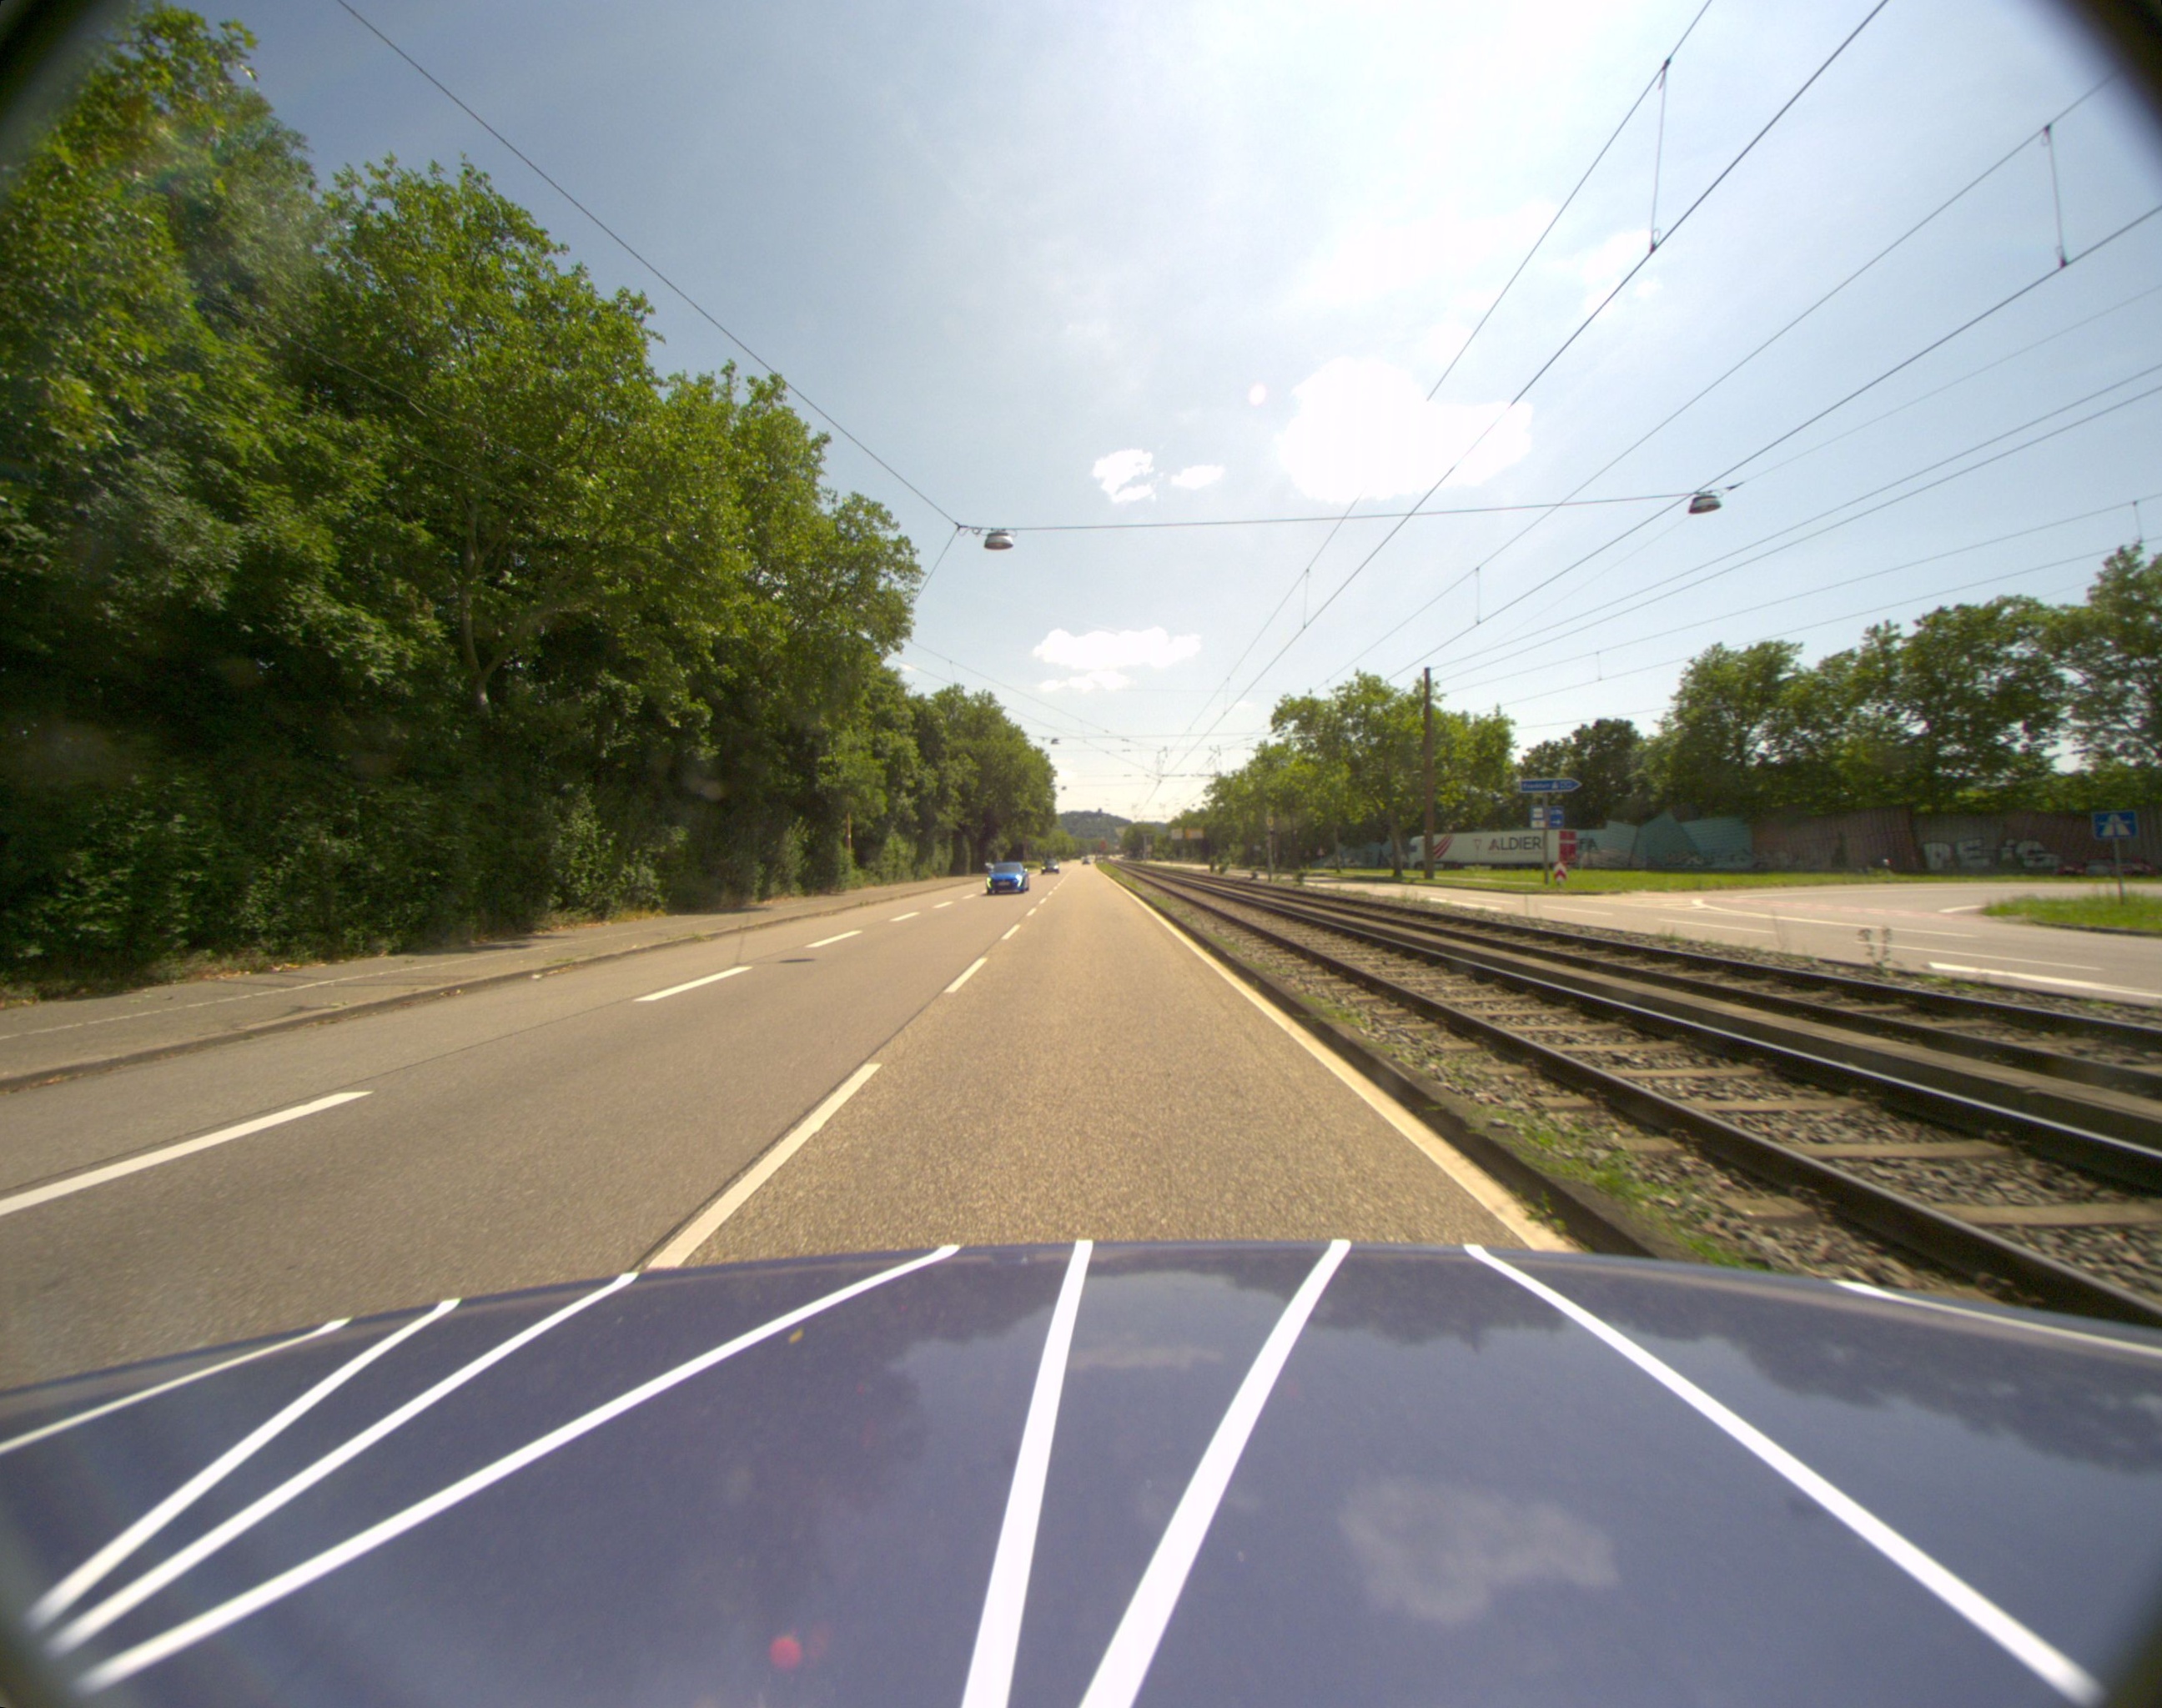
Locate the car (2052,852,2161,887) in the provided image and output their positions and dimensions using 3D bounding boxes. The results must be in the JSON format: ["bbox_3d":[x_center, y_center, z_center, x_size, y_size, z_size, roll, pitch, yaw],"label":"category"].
[{"bbox_3d":[55.180,0.801,40.847,1.567,1.781,3.392,-1,0,-24],"label":"car"}]

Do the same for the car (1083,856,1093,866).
[{"bbox_3d":[1.591,1.492,168.306,1.998,2.002,3.999,-2,1,0],"label":"car"}]

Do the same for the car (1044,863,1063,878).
[{"bbox_3d":[-2.856,1.722,78.887,1.769,1.359,3.743,-2,1,1],"label":"car"}]

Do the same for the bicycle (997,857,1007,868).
[{"bbox_3d":[-8.788,0.950,84.851,0.710,1.131,2.538,-1,0,2],"label":"bicycle"}]

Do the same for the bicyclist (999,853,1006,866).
[{"bbox_3d":[-8.799,0.595,84.883,0.704,1.431,0.641,-1,1,2],"label":"bicyclist"}]

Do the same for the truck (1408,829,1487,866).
[{"bbox_3d":[38.160,-0.661,79.400,3.423,3.680,6.746,-1,0,-25],"label":"truck"}]

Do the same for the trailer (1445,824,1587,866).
[{"bbox_3d":[41.238,-0.769,72.755,3.393,3.633,12.084,-1,0,-25],"label":"trailer"}]

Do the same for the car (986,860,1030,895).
[{"bbox_3d":[-3.388,1.070,35.910,1.660,1.397,3.743,-2,1,0],"label":"car"}]
